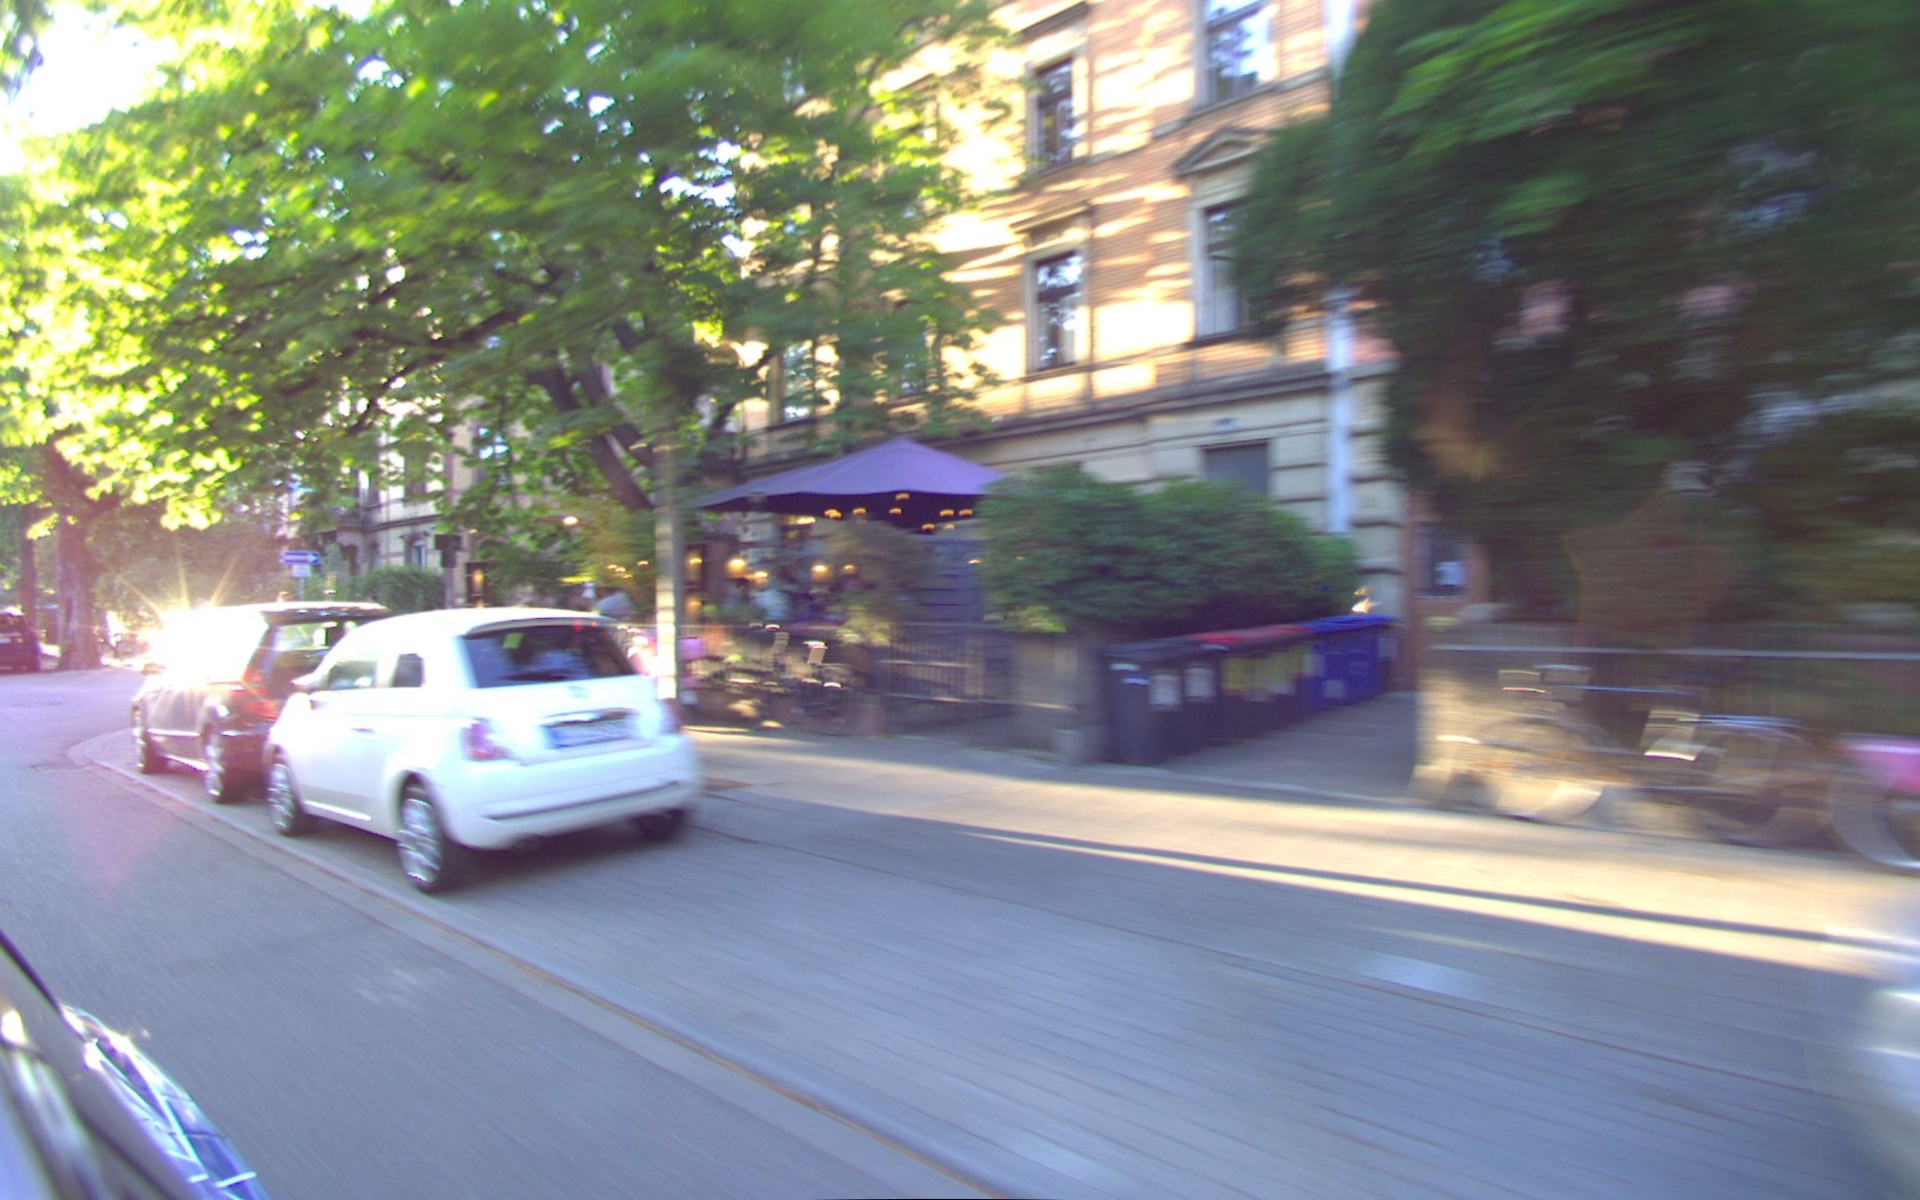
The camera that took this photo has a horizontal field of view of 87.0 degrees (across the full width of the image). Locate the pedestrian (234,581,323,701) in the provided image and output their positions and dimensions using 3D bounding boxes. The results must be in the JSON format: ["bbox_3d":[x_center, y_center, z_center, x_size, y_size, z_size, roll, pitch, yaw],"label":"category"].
[{"bbox_3d":[-11.893,0.707,17.686,1.002,2.029,0.863,0,-1,21],"label":"pedestrian"}]

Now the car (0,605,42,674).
[{"bbox_3d":[-25.817,1.039,26.642,4.588,1.700,1.847,-2,0,40],"label":"car"}]

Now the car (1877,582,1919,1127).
[{"bbox_3d":[4.068,0.630,0.892,4.590,1.422,1.824,-2,0,36],"label":"car"}]

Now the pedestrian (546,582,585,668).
[{"bbox_3d":[-6.800,0.428,17.454,0.458,1.462,0.428,-1,-2,10],"label":"pedestrian"}]

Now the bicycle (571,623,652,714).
[{"bbox_3d":[-4.925,0.927,14.220,0.386,1.152,1.960,-3,2,-39],"label":"bicycle"}]

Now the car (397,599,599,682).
[{"bbox_3d":[-9.536,0.819,21.209,1.622,1.557,3.830,-2,-2,21],"label":"car"}]

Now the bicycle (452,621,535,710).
[{"bbox_3d":[-6.845,0.928,14.806,1.957,1.194,0.387,-1,2,45],"label":"bicycle"}]

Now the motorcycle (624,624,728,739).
[{"bbox_3d":[-3.315,0.889,11.701,0.386,1.194,1.960,-2,1,-39],"label":"motorcycle"}]

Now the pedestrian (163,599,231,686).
[{"bbox_3d":[-16.415,0.903,21.784,1.000,1.849,0.684,0,-1,15],"label":"pedestrian"}]

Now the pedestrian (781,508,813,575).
[{"bbox_3d":[-3.565,-1.270,22.117,0.461,1.423,0.519,-2,-2,26],"label":"pedestrian"}]

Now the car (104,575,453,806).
[{"bbox_3d":[-6.456,0.699,9.439,3.843,1.690,1.648,-2,1,40],"label":"car"}]

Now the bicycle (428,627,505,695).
[{"bbox_3d":[-8.540,1.031,17.587,0.387,1.107,1.827,-1,-2,2],"label":"bicycle"}]

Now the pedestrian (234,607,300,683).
[{"bbox_3d":[-15.186,0.973,22.186,1.043,1.643,0.684,0,-1,15],"label":"pedestrian"}]

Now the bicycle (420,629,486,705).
[{"bbox_3d":[-8.362,1.081,16.669,1.746,1.152,0.387,-1,2,44],"label":"bicycle"}]

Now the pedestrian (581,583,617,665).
[{"bbox_3d":[-6.632,0.442,18.581,0.458,1.462,0.428,-1,-2,10],"label":"pedestrian"}]

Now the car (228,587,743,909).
[{"bbox_3d":[-3.292,0.745,6.724,3.707,1.504,1.648,-1,1,40],"label":"car"}]

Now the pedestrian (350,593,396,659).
[{"bbox_3d":[-17.224,0.744,29.693,0.777,1.837,0.916,2,2,30],"label":"pedestrian"}]
